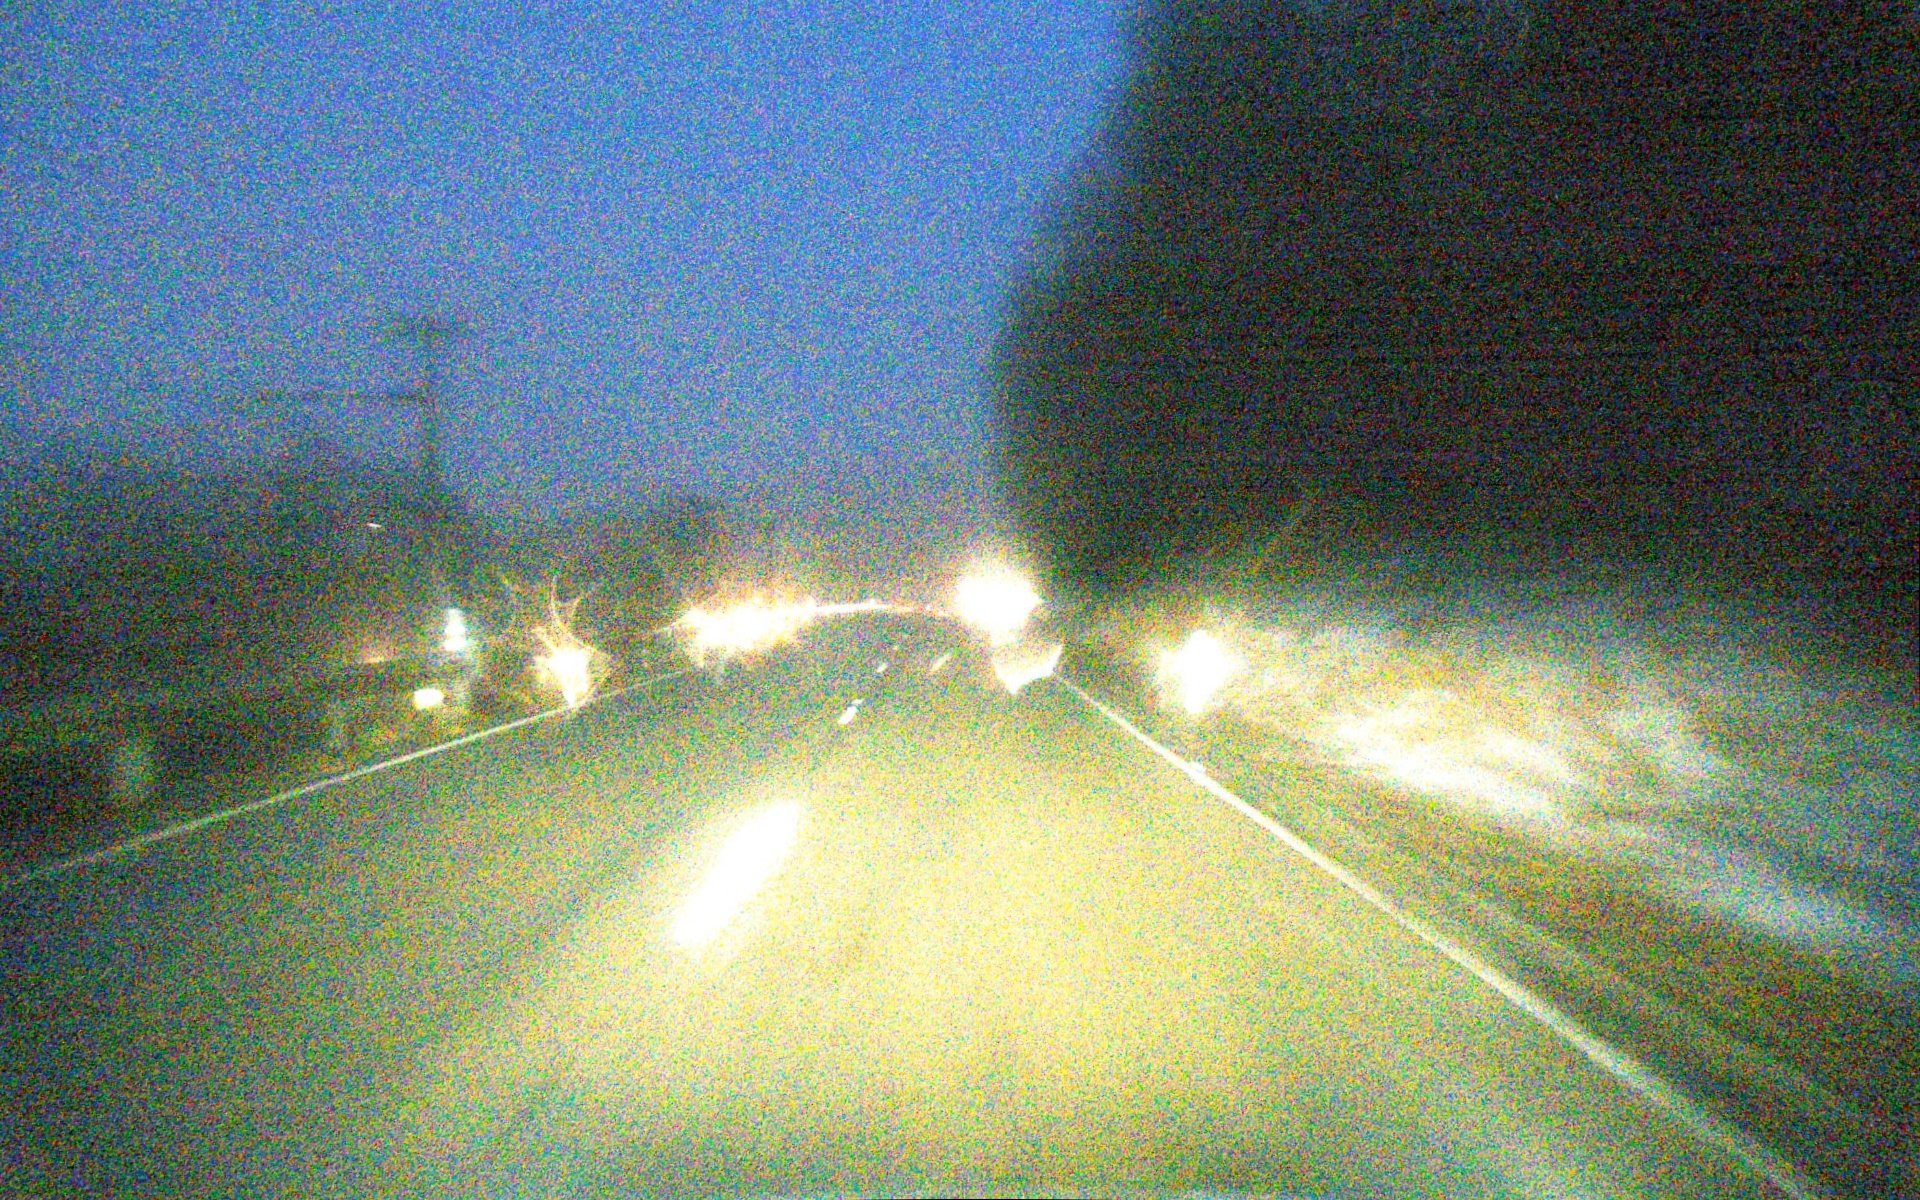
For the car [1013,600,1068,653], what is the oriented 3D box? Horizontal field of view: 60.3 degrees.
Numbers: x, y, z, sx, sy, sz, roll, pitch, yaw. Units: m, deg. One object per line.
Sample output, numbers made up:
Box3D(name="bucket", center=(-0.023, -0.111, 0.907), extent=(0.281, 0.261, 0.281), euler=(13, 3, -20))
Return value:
Box3D(name="car", center=(3.346, 1.156, 69.190), extent=(2.151, 2.049, 4.207), euler=(1, -3, 1))
